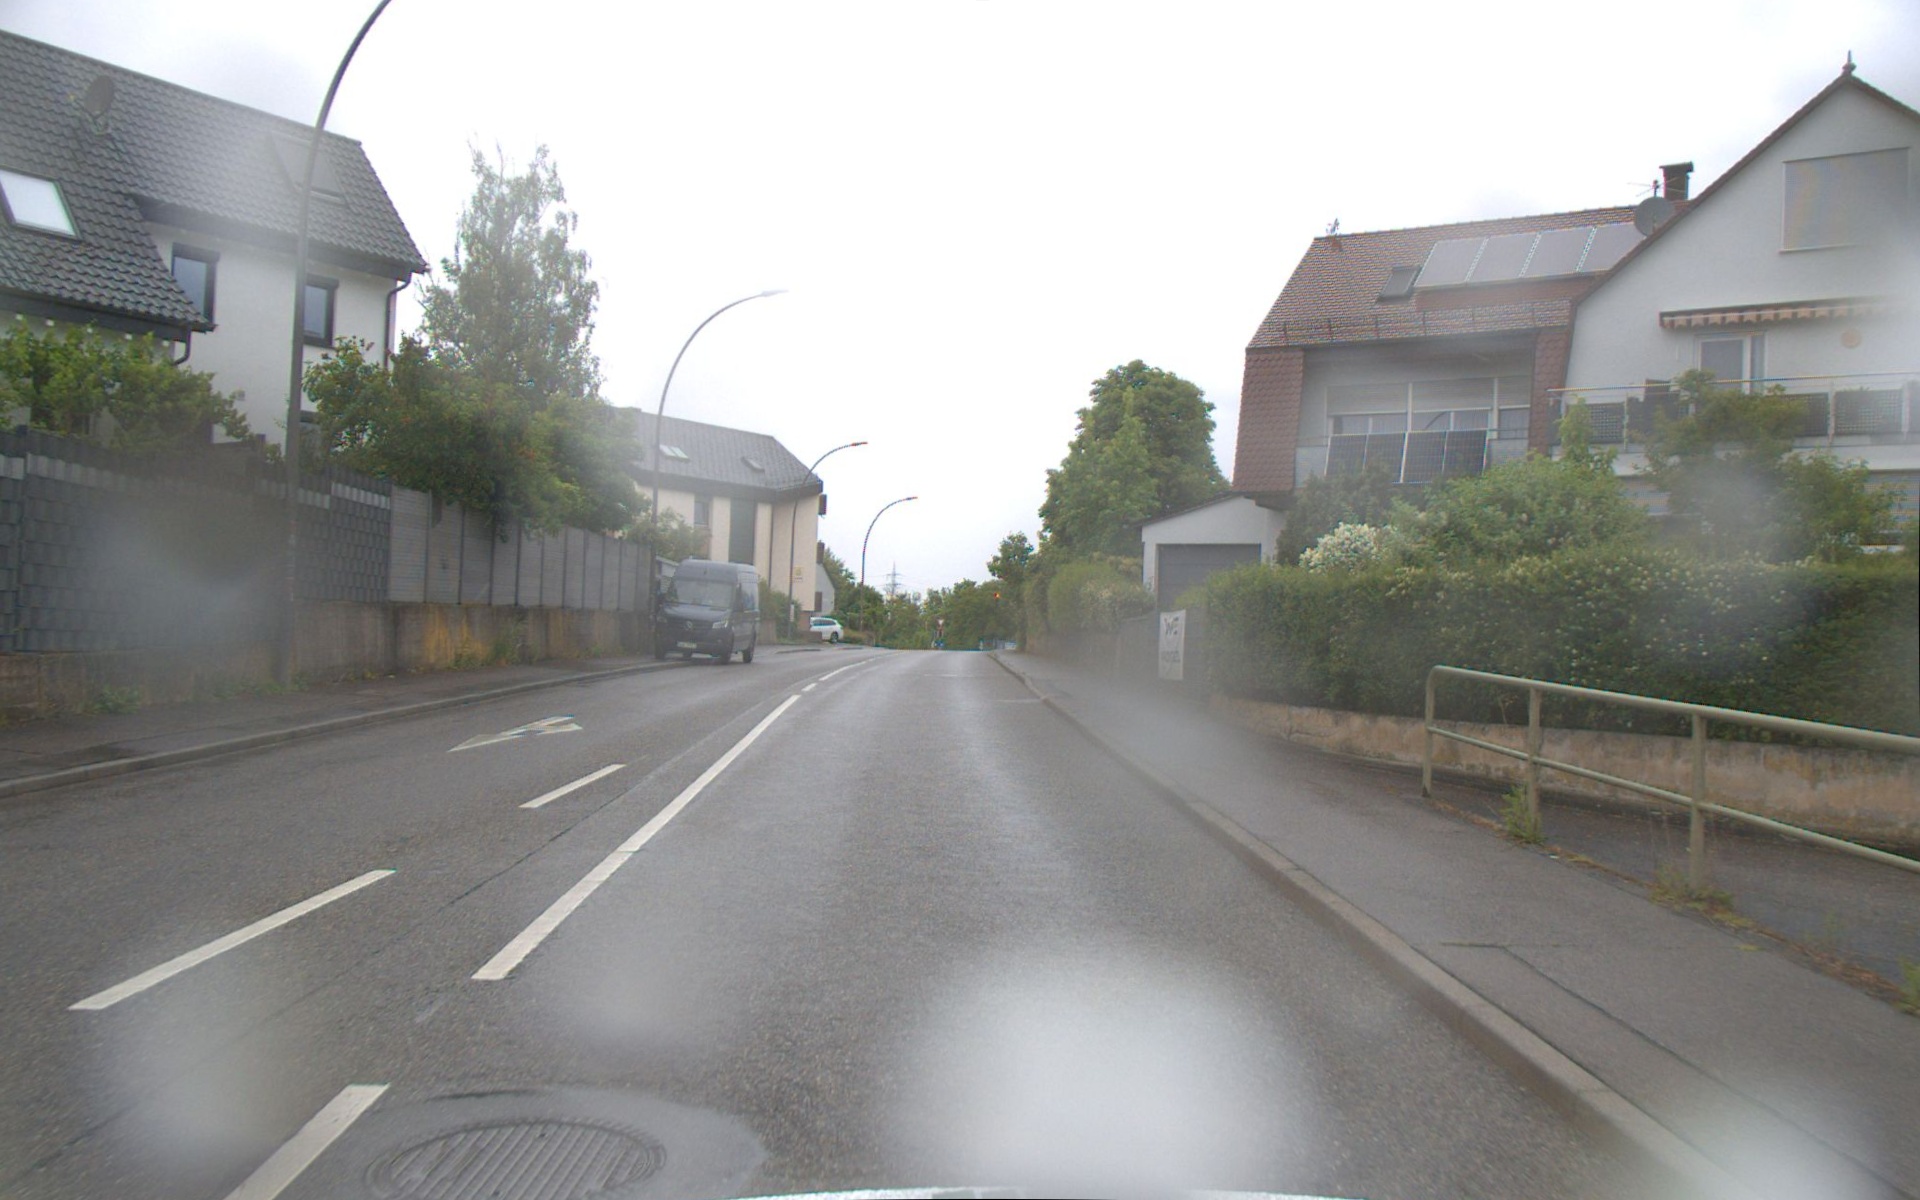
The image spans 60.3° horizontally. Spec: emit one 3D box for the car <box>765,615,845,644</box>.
[{"bbox_3d":[-9.019,1.713,96.607,1.869,1.503,4.864,2,-1,35],"label":"car"}]

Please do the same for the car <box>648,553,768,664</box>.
[{"bbox_3d":[-6.679,0.258,44.527,2.051,2.695,5.919,3,-1,1],"label":"car"}]
